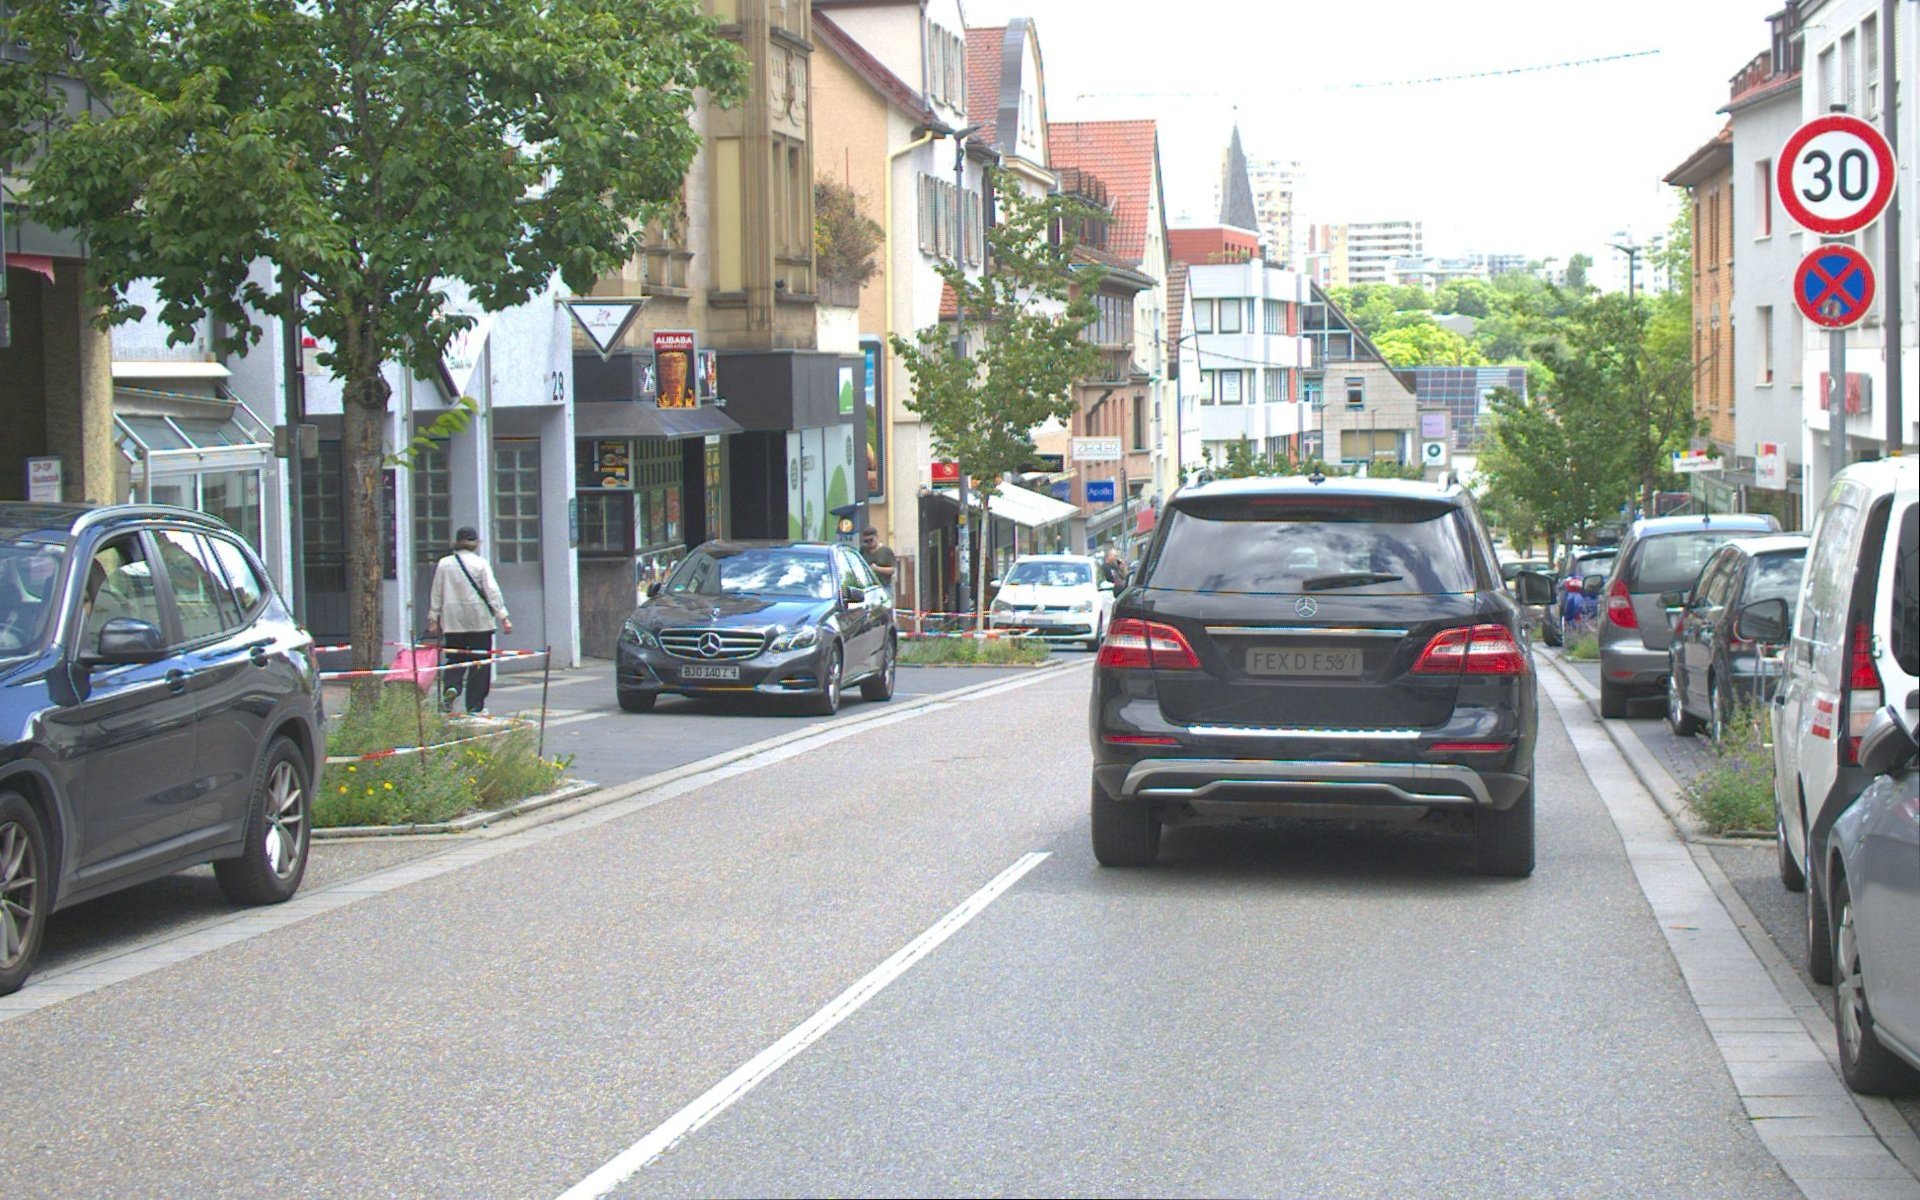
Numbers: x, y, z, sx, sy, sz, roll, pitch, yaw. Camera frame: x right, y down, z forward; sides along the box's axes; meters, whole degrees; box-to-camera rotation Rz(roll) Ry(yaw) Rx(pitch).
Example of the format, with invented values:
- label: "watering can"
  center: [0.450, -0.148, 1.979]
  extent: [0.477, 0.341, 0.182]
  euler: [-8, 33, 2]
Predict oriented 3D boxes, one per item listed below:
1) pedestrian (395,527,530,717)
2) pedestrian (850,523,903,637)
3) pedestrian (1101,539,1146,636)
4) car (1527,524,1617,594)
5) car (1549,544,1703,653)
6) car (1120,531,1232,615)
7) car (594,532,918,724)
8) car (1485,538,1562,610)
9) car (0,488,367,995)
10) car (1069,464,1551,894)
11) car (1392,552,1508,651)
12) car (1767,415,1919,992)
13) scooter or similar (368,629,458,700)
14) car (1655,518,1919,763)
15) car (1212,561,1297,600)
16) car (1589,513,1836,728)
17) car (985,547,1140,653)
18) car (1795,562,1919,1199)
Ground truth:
- label: "pedestrian"
  center: [-3.943, 0.168, 27.299]
  extent: [0.826, 1.458, 0.809]
  euler: [2, 0, 8]
- label: "pedestrian"
  center: [-1.080, -0.265, 44.662]
  extent: [0.491, 1.458, 0.558]
  euler: [2, 0, 18]
- label: "pedestrian"
  center: [2.841, -0.220, 59.652]
  extent: [0.737, 1.666, 0.863]
  euler: [0, 0, 6]
- label: "car"
  center: [13.936, -0.940, 78.455]
  extent: [1.749, 1.460, 4.073]
  euler: [-4, 0, 8]
- label: "car"
  center: [9.946, 0.013, 51.566]
  extent: [1.748, 1.493, 3.799]
  euler: [-3, -1, 4]
- label: "car"
  center: [4.423, -0.528, 69.829]
  extent: [1.927, 1.616, 4.638]
  euler: [1, 0, 7]
- label: "car"
  center: [-1.692, 0.187, 30.276]
  extent: [1.927, 1.487, 4.841]
  euler: [2, 1, 7]
- label: "car"
  center: [15.672, -0.740, 95.722]
  extent: [1.938, 1.885, 4.705]
  euler: [-2, 0, 8]
- label: "car"
  center: [-3.966, 0.413, 13.123]
  extent: [2.007, 1.688, 4.606]
  euler: [1, 2, 8]
- label: "car"
  center: [1.741, 0.305, 16.084]
  extent: [1.944, 1.734, 4.177]
  euler: [0, 0, 9]
- label: "car"
  center: [7.937, -0.002, 55.593]
  extent: [1.786, 1.535, 3.743]
  euler: [0, 1, 9]
- label: "car"
  center: [4.035, 0.286, 12.862]
  extent: [1.877, 1.793, 4.730]
  euler: [0, 1, 12]
- label: "scooter or similar"
  center: [-4.228, 0.493, 26.606]
  extent: [0.525, 0.517, 0.573]
  euler: [2, 1, 8]
- label: "car"
  center: [5.865, 0.230, 23.590]
  extent: [1.748, 1.503, 3.874]
  euler: [-2, 0, 6]
- label: "car"
  center: [14.201, -0.928, 165.872]
  extent: [3.987, 1.744, 2.000]
  euler: [-2, 0, 5]
- label: "car"
  center: [6.132, 0.138, 28.354]
  extent: [1.749, 1.602, 3.799]
  euler: [-2, 0, 9]
- label: "car"
  center: [1.619, -0.036, 52.775]
  extent: [1.927, 1.506, 4.261]
  euler: [2, 1, 7]
- label: "car"
  center: [3.033, 0.644, 7.755]
  extent: [1.703, 1.462, 3.999]
  euler: [-1, 1, 6]
